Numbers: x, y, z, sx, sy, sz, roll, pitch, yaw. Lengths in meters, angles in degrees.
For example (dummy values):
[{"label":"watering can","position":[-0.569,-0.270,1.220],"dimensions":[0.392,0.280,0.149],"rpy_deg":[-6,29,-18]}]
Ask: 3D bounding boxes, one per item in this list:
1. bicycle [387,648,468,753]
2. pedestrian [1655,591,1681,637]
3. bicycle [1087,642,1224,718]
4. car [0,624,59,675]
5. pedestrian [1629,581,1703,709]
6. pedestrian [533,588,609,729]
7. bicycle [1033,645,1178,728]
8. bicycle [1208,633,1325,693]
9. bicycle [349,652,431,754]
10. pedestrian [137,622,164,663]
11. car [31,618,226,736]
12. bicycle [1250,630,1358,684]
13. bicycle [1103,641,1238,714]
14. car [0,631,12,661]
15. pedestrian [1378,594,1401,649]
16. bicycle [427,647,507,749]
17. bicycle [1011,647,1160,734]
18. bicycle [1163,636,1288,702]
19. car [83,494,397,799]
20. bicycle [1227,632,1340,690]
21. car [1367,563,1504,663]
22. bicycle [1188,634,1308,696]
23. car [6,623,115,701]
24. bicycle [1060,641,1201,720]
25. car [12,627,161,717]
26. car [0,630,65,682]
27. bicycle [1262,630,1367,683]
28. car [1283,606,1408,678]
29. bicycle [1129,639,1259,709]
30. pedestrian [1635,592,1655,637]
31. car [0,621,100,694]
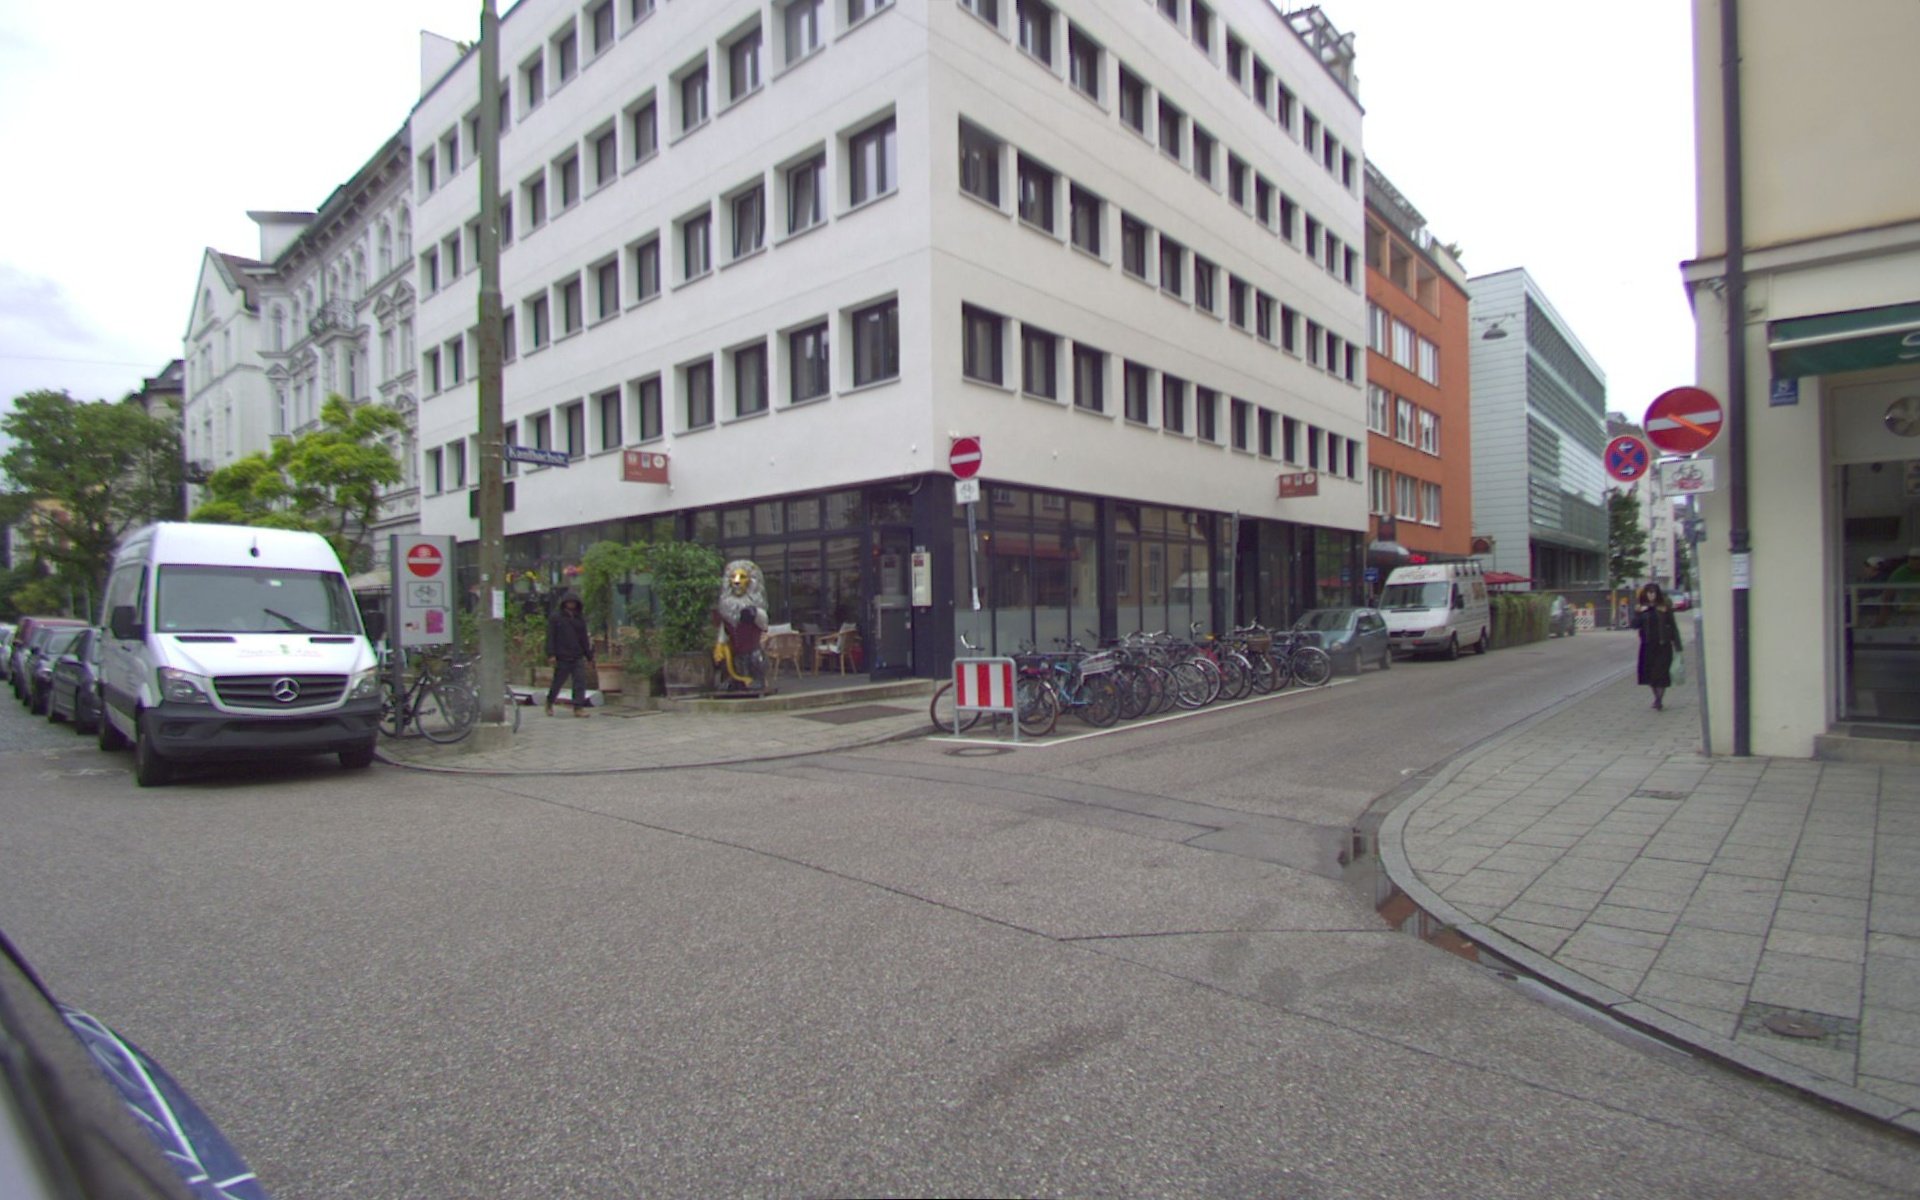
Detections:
[{"label":"bicycle","position":[-6.369,1.161,12.067],"dimensions":[1.807,1.135,0.252],"rpy_deg":[-1,0,43]},{"label":"pedestrian","position":[31.640,0.626,45.226],"dimensions":[0.871,2.029,0.876],"rpy_deg":[-1,0,34]},{"label":"bicycle","position":[2.706,1.091,14.162],"dimensions":[1.892,0.975,0.393],"rpy_deg":[-1,0,38]},{"label":"car","position":[-31.994,1.653,34.339],"dimensions":[4.067,1.584,1.671],"rpy_deg":[-1,0,42]},{"label":"pedestrian","position":[9.011,0.556,12.914],"dimensions":[0.599,1.573,0.640],"rpy_deg":[-1,0,-43]},{"label":"pedestrian","position":[-5.293,0.776,13.776],"dimensions":[0.812,1.854,0.608],"rpy_deg":[-1,-1,37]},{"label":"bicycle","position":[1.836,1.082,13.002],"dimensions":[1.892,0.975,0.393],"rpy_deg":[-1,0,38]},{"label":"bicycle","position":[5.259,1.068,17.440],"dimensions":[1.892,0.975,0.393],"rpy_deg":[-1,0,38]},{"label":"bicycle","position":[-6.761,1.185,11.971],"dimensions":[1.815,1.099,0.282],"rpy_deg":[-2,-1,42]},{"label":"pedestrian","position":[-33.486,1.749,41.862],"dimensions":[0.656,1.640,0.671],"rpy_deg":[-1,0,-14]},{"label":"car","position":[-12.461,1.047,15.076],"dimensions":[3.981,1.494,1.644],"rpy_deg":[-1,0,42]},{"label":"bicycle","position":[6.503,1.061,19.196],"dimensions":[1.892,0.975,0.393],"rpy_deg":[-1,0,38]},{"label":"bicycle","position":[2.993,1.086,14.522],"dimensions":[1.892,0.975,0.393],"rpy_deg":[-1,0,38]},{"label":"car","position":[-48.279,2.262,49.942],"dimensions":[4.809,1.430,1.861],"rpy_deg":[-2,-1,43]},{"label":"pedestrian","position":[13.787,0.676,32.510],"dimensions":[0.521,1.753,0.487],"rpy_deg":[-2,-1,39]},{"label":"bicycle","position":[-6.051,1.163,12.383],"dimensions":[1.730,1.135,0.252],"rpy_deg":[-1,0,43]},{"label":"bicycle","position":[1.536,1.100,12.647],"dimensions":[1.892,0.975,0.393],"rpy_deg":[-1,0,38]},{"label":"bicycle","position":[4.165,1.065,15.975],"dimensions":[1.892,0.975,0.393],"rpy_deg":[-1,0,38]},{"label":"car","position":[-8.299,0.467,11.378],"dimensions":[1.954,2.594,5.798],"rpy_deg":[2,-2,-44]},{"label":"bicycle","position":[5.779,1.079,18.162],"dimensions":[1.892,0.975,0.393],"rpy_deg":[-1,0,38]},{"label":"car","position":[13.053,0.293,27.502],"dimensions":[1.962,2.406,6.401],"rpy_deg":[-1,0,38]},{"label":"bicycle","position":[4.736,1.054,16.752],"dimensions":[1.892,0.975,0.393],"rpy_deg":[-1,0,38]},{"label":"car","position":[-19.906,1.300,22.400],"dimensions":[1.673,1.515,3.781],"rpy_deg":[-1,0,-42]},{"label":"bicycle","position":[2.265,1.057,13.599],"dimensions":[1.892,0.975,0.393],"rpy_deg":[-1,0,38]},{"label":"car","position":[-16.372,1.267,18.893],"dimensions":[4.475,1.476,1.706],"rpy_deg":[-2,-3,45]},{"label":"car","position":[-28.334,1.653,30.505],"dimensions":[3.815,1.404,1.614],"rpy_deg":[-1,0,42]},{"label":"bicycle","position":[6.893,1.079,19.733],"dimensions":[1.892,0.975,0.393],"rpy_deg":[-1,0,38]},{"label":"car","position":[8.454,0.857,22.035],"dimensions":[1.488,1.418,3.644],"rpy_deg":[-1,-1,38]},{"label":"bicycle","position":[3.481,1.078,15.159],"dimensions":[1.892,0.975,0.393],"rpy_deg":[-1,0,38]},{"label":"pedestrian","position":[30.932,0.645,45.716],"dimensions":[0.717,2.029,0.876],"rpy_deg":[-1,0,34]},{"label":"car","position":[-23.721,1.422,26.275],"dimensions":[3.899,1.736,1.698],"rpy_deg":[-1,-2,44]}]
